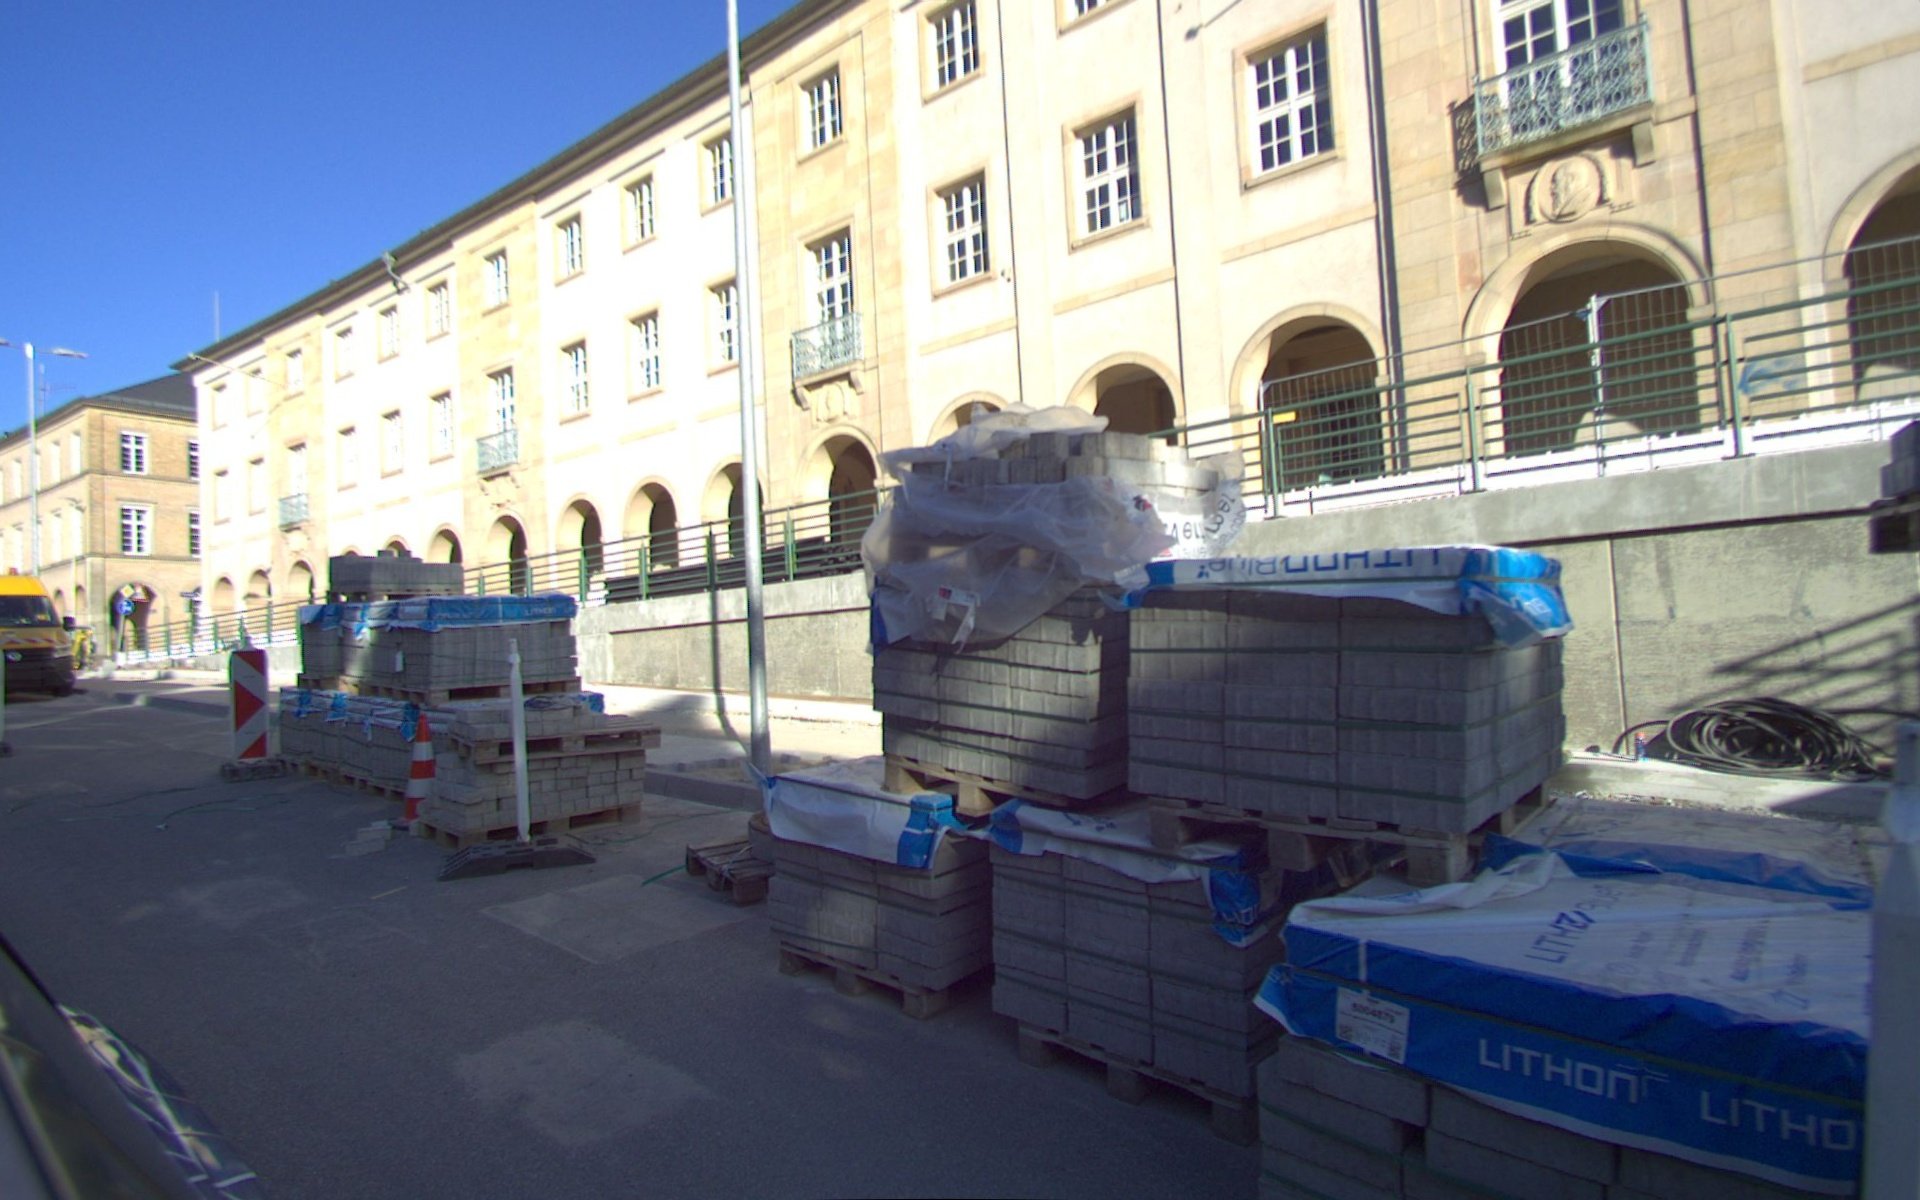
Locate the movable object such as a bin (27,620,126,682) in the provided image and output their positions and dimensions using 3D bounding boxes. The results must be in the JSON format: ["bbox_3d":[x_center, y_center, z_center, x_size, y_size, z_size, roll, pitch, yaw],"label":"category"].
[{"bbox_3d":[-37.027,2.153,42.393,4.297,2.414,2.081,-4,-5,35],"label":"movable object such as a bin"}]

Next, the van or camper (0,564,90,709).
[{"bbox_3d":[-20.135,0.766,20.599,6.812,2.632,2.174,-2,0,37],"label":"van or camper"}]
